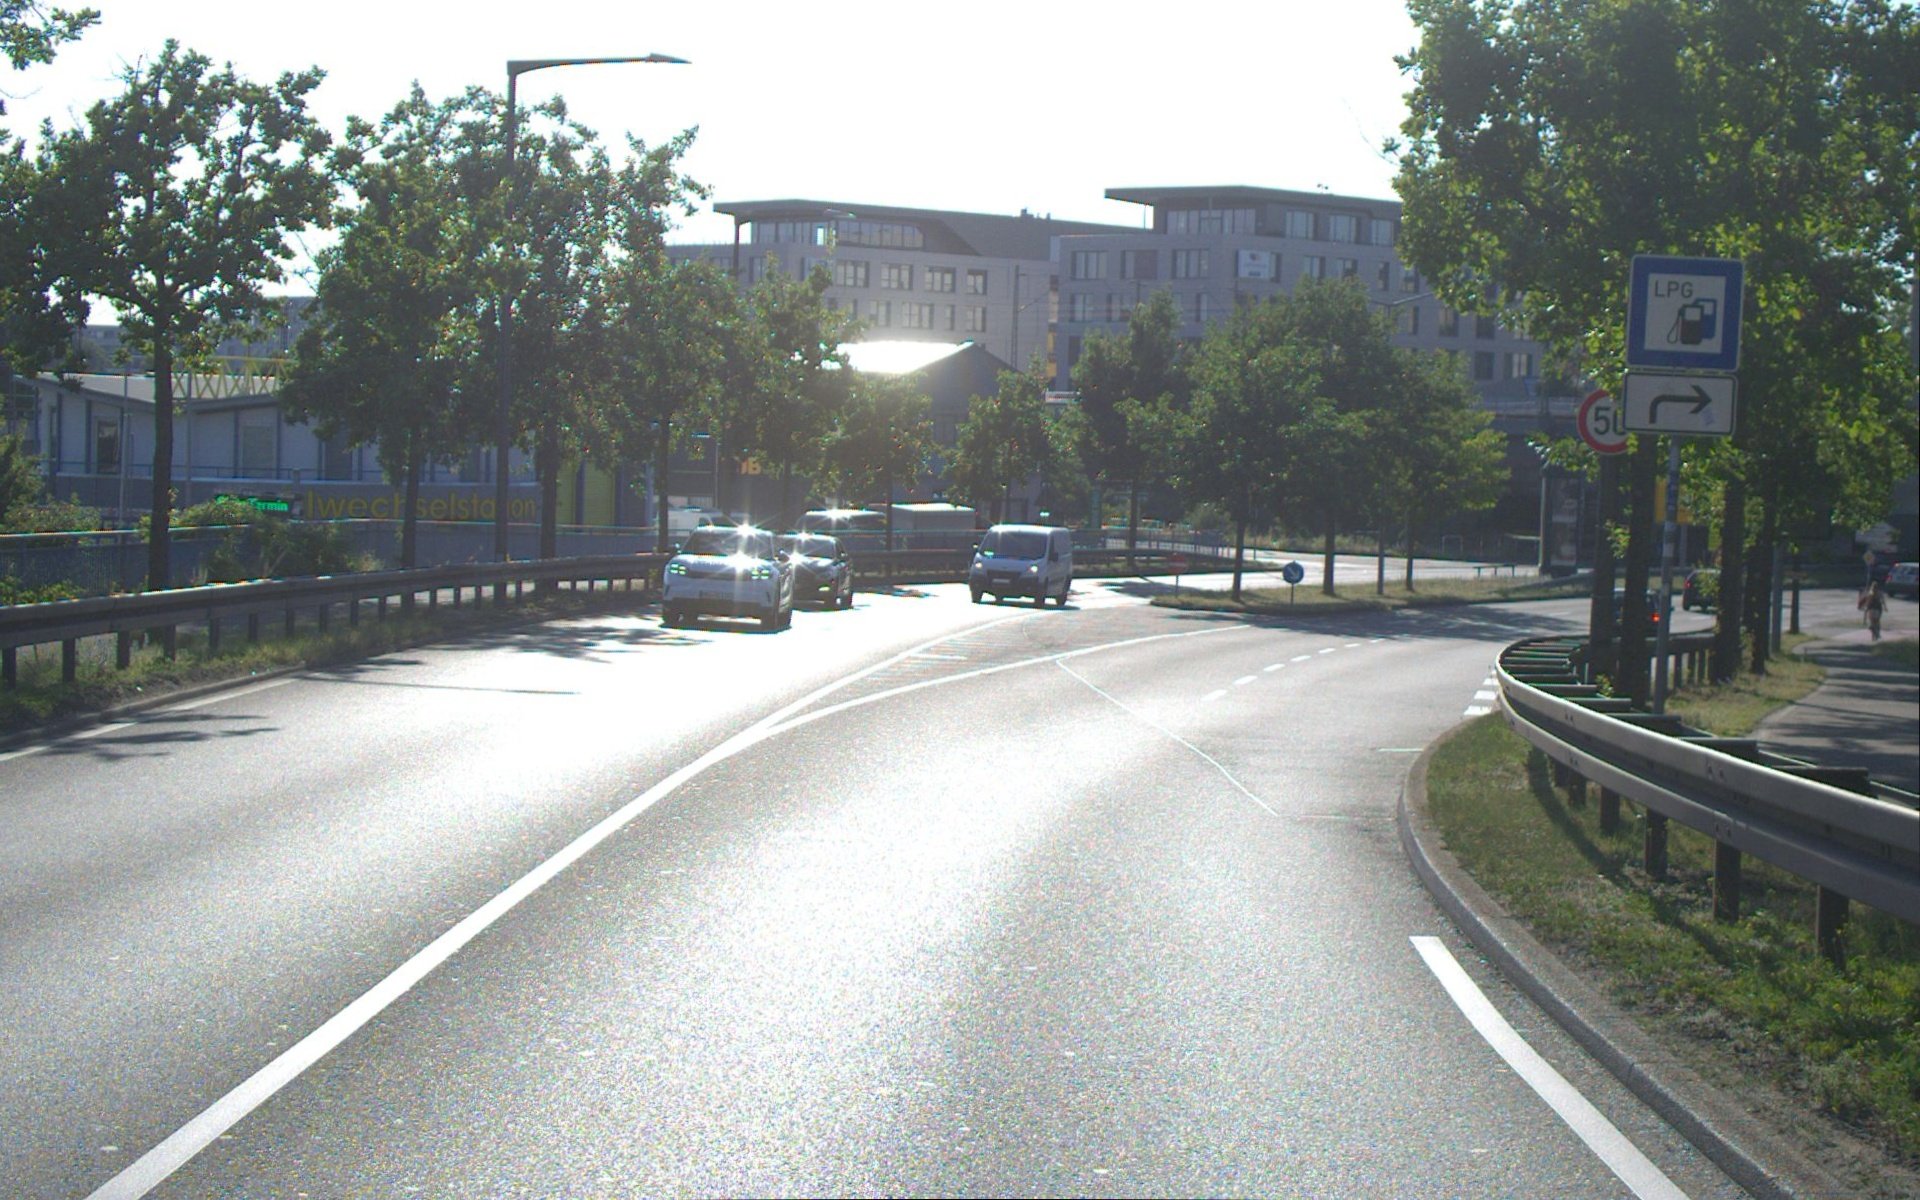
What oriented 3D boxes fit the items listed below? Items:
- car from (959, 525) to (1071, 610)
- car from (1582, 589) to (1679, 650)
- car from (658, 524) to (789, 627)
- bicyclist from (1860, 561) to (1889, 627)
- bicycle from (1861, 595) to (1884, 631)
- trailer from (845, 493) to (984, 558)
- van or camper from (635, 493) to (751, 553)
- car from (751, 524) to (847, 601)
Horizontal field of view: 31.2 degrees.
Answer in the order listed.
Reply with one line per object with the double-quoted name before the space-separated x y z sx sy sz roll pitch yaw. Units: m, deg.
"car" 1.417 -0.819 85.588 1.879 2.007 5.257 2 1 11
"car" 17.372 0.494 88.932 1.995 1.503 3.997 1 1 18
"car" -3.857 -0.422 56.740 1.828 1.584 4.649 2 1 0
"bicyclist" 27.220 -0.182 102.307 0.682 1.900 0.832 4 3 16
"bicycle" 27.127 0.384 102.180 0.579 0.960 2.884 4 2 15
"trailer" -1.456 -2.450 114.231 2.422 1.963 6.599 4 2 19
"van or camper" -9.599 -2.772 123.497 1.994 1.919 4.228 2 1 -39
"car" -3.292 -0.788 71.003 1.772 1.460 4.384 3 1 -1
